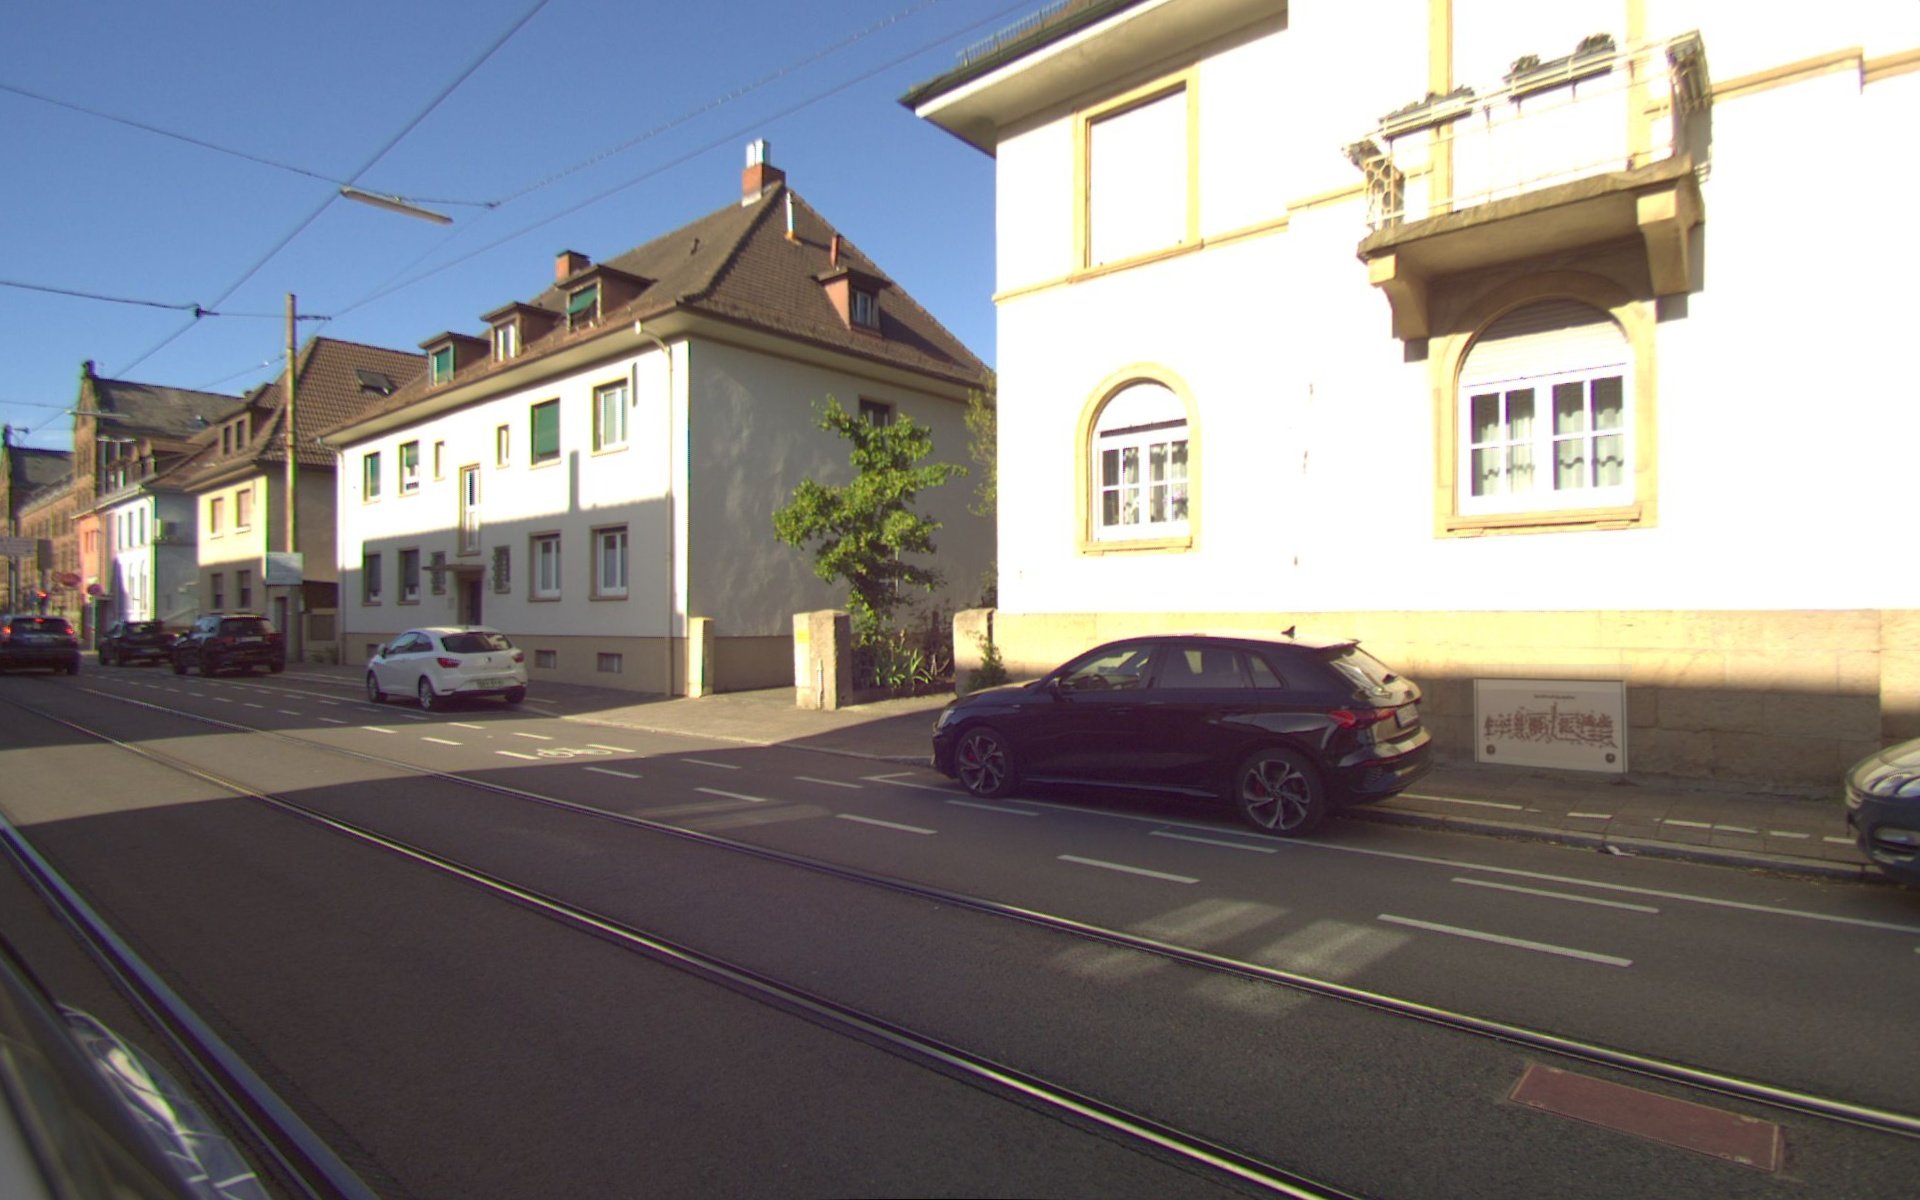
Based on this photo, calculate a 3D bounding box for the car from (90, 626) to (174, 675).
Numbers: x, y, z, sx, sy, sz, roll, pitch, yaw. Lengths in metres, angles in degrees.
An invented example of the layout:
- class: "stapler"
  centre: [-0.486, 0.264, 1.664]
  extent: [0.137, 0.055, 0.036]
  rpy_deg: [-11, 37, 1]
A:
- class: "car"
  centre: [-29.468, 1.772, 35.977]
  extent: [3.918, 1.640, 1.599]
  rpy_deg: [-1, -3, 40]

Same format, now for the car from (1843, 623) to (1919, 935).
- class: "car"
  centre: [6.531, 0.865, 4.532]
  extent: [3.833, 1.488, 1.659]
  rpy_deg: [-2, 0, 41]

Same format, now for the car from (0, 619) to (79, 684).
- class: "car"
  centre: [-26.380, 1.411, 28.538]
  extent: [4.362, 1.718, 1.686]
  rpy_deg: [-1, -3, 41]

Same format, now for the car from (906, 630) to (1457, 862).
- class: "car"
  centre: [1.692, 1.008, 8.535]
  extent: [4.243, 1.488, 1.647]
  rpy_deg: [-1, -2, 37]

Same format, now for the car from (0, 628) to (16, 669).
- class: "car"
  centre: [-36.174, 1.761, 37.401]
  extent: [3.613, 1.472, 1.565]
  rpy_deg: [-1, -3, 42]

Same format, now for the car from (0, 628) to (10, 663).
- class: "car"
  centre: [-45.722, 2.089, 47.319]
  extent: [3.930, 1.579, 1.665]
  rpy_deg: [-2, -4, 44]

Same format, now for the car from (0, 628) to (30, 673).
- class: "car"
  centre: [-32.394, 1.656, 33.837]
  extent: [4.075, 1.472, 1.599]
  rpy_deg: [-1, -3, 43]

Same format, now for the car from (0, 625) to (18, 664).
- class: "car"
  centre: [-41.406, 1.867, 43.084]
  extent: [1.718, 1.623, 4.717]
  rpy_deg: [3, -3, -45]

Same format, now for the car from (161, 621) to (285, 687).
- class: "car"
  centre: [-20.700, 1.464, 28.342]
  extent: [4.552, 1.718, 1.744]
  rpy_deg: [-1, -3, 40]

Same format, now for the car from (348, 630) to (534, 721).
- class: "car"
  centre: [-9.498, 1.291, 18.402]
  extent: [4.014, 1.468, 1.614]
  rpy_deg: [-1, -3, 41]
